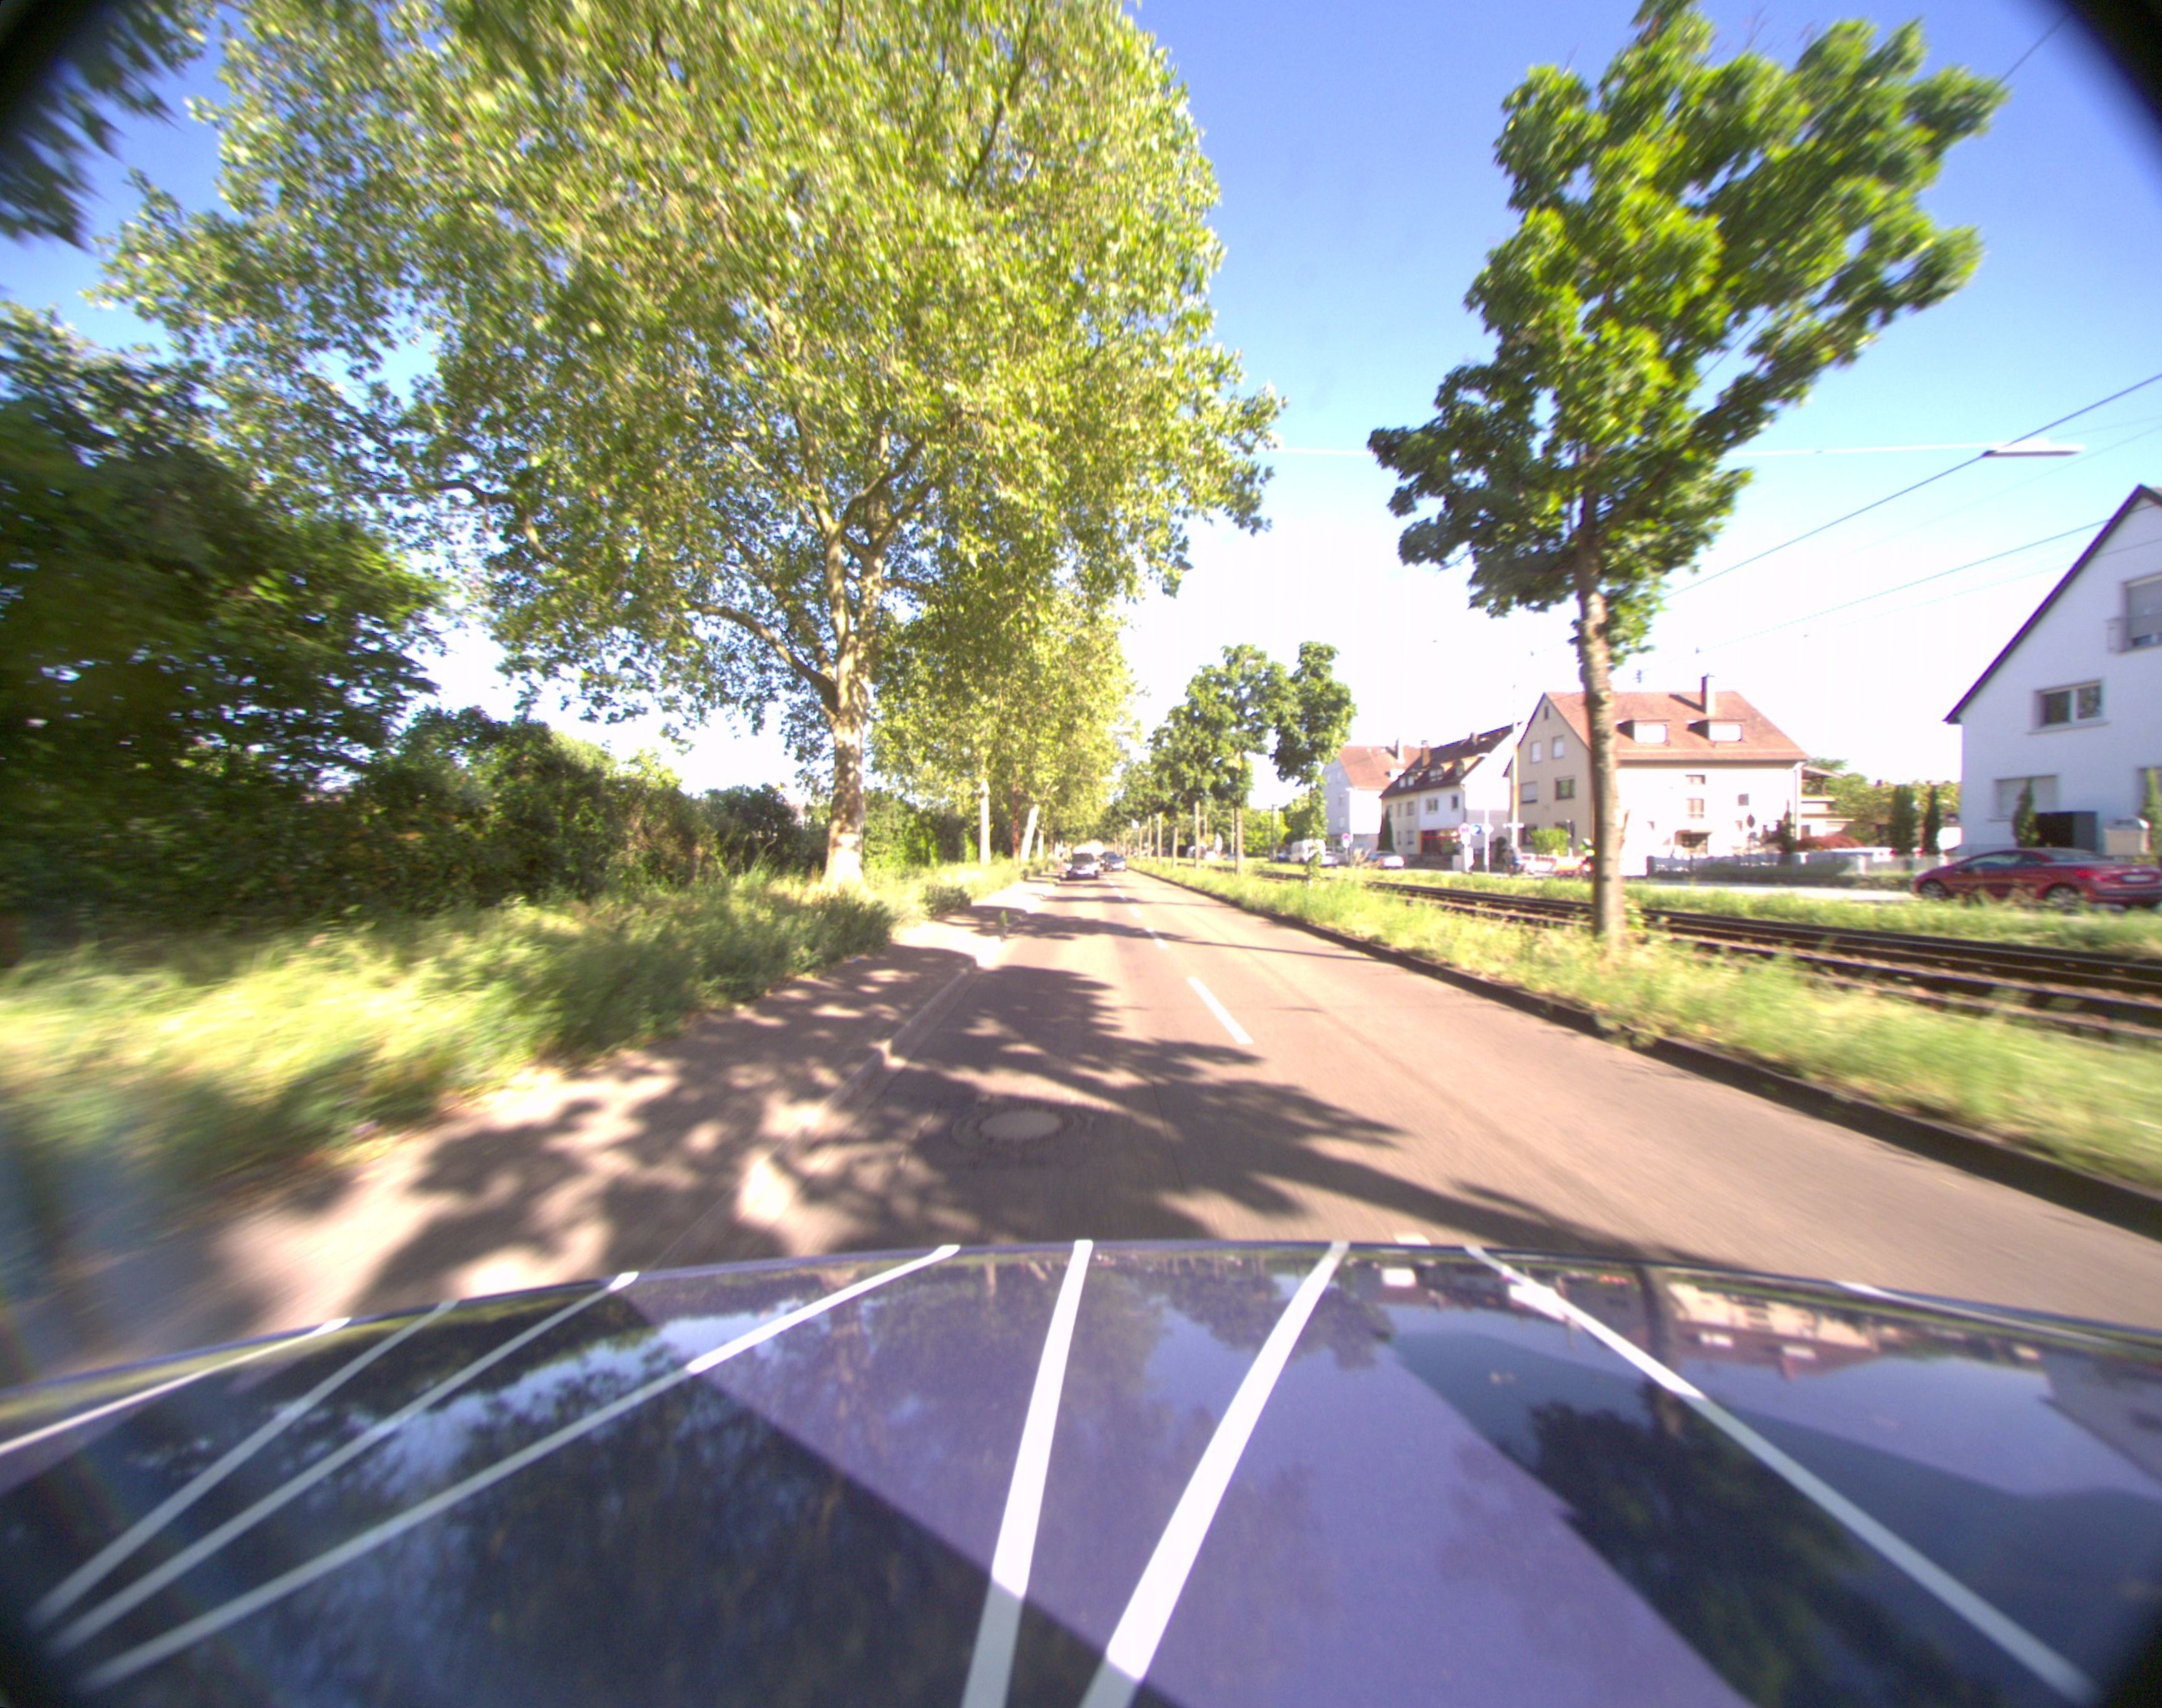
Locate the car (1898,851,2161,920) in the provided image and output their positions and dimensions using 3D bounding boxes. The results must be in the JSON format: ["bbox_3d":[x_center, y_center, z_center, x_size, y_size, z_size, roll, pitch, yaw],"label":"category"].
[{"bbox_3d":[21.677,0.644,17.513,1.497,1.318,4.000,-2,1,2],"label":"car"}]

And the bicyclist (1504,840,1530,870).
[{"bbox_3d":[19.387,0.040,33.799,0.690,1.329,0.881,-1,1,0],"label":"bicyclist"}]

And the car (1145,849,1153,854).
[{"bbox_3d":[18.900,-0.700,211.098,1.680,1.401,4.000,-1,0,1],"label":"car"}]

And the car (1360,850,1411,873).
[{"bbox_3d":[22.128,0.500,55.412,1.998,1.572,4.498,-2,0,1],"label":"car"}]

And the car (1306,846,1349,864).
[{"bbox_3d":[27.828,0.135,85.934,4.151,1.941,1.998,-1,1,-10],"label":"car"}]

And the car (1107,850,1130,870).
[{"bbox_3d":[2.994,0.450,61.235,1.714,1.478,3.546,-2,1,2],"label":"car"}]

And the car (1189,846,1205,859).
[{"bbox_3d":[17.542,-0.258,115.137,1.920,1.872,4.523,-2,1,2],"label":"car"}]

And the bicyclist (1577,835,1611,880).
[{"bbox_3d":[19.440,0.125,28.817,0.690,1.643,0.881,-1,1,0],"label":"bicyclist"}]

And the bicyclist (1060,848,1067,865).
[{"bbox_3d":[-1.724,0.229,74.326,0.615,1.619,0.909,-1,1,1],"label":"bicyclist"}]

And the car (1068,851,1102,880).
[{"bbox_3d":[0.219,0.618,43.276,1.808,1.478,3.546,-2,1,0],"label":"car"}]

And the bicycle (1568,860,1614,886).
[{"bbox_3d":[19.421,0.695,28.980,0.399,0.922,2.096,-1,1,1],"label":"bicycle"}]

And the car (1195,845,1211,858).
[{"bbox_3d":[23.458,-0.568,146.504,2.188,2.362,6.464,-2,1,1],"label":"car"}]

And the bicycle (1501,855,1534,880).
[{"bbox_3d":[19.439,0.574,33.871,0.399,1.064,1.879,-1,1,1],"label":"bicycle"}]

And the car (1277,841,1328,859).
[{"bbox_3d":[33.541,-0.561,115.208,7.086,2.493,2.329,-1,0,-5],"label":"car"}]

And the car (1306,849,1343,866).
[{"bbox_3d":[22.182,0.304,69.371,1.829,1.404,4.657,-2,1,0],"label":"car"}]

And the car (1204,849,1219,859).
[{"bbox_3d":[22.864,-0.004,133.199,1.827,1.598,4.773,-2,1,1],"label":"car"}]

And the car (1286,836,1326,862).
[{"bbox_3d":[22.208,-0.502,75.337,1.998,2.445,6.673,-2,1,0],"label":"car"}]

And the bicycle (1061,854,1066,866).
[{"bbox_3d":[-1.692,0.603,74.301,0.441,1.146,1.823,-1,1,1],"label":"bicycle"}]

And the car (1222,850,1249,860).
[{"bbox_3d":[23.254,0.130,114.199,3.617,1.469,1.753,-1,1,22],"label":"car"}]

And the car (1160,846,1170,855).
[{"bbox_3d":[23.403,-0.952,211.828,2.231,2.565,6.798,-2,0,1],"label":"car"}]
